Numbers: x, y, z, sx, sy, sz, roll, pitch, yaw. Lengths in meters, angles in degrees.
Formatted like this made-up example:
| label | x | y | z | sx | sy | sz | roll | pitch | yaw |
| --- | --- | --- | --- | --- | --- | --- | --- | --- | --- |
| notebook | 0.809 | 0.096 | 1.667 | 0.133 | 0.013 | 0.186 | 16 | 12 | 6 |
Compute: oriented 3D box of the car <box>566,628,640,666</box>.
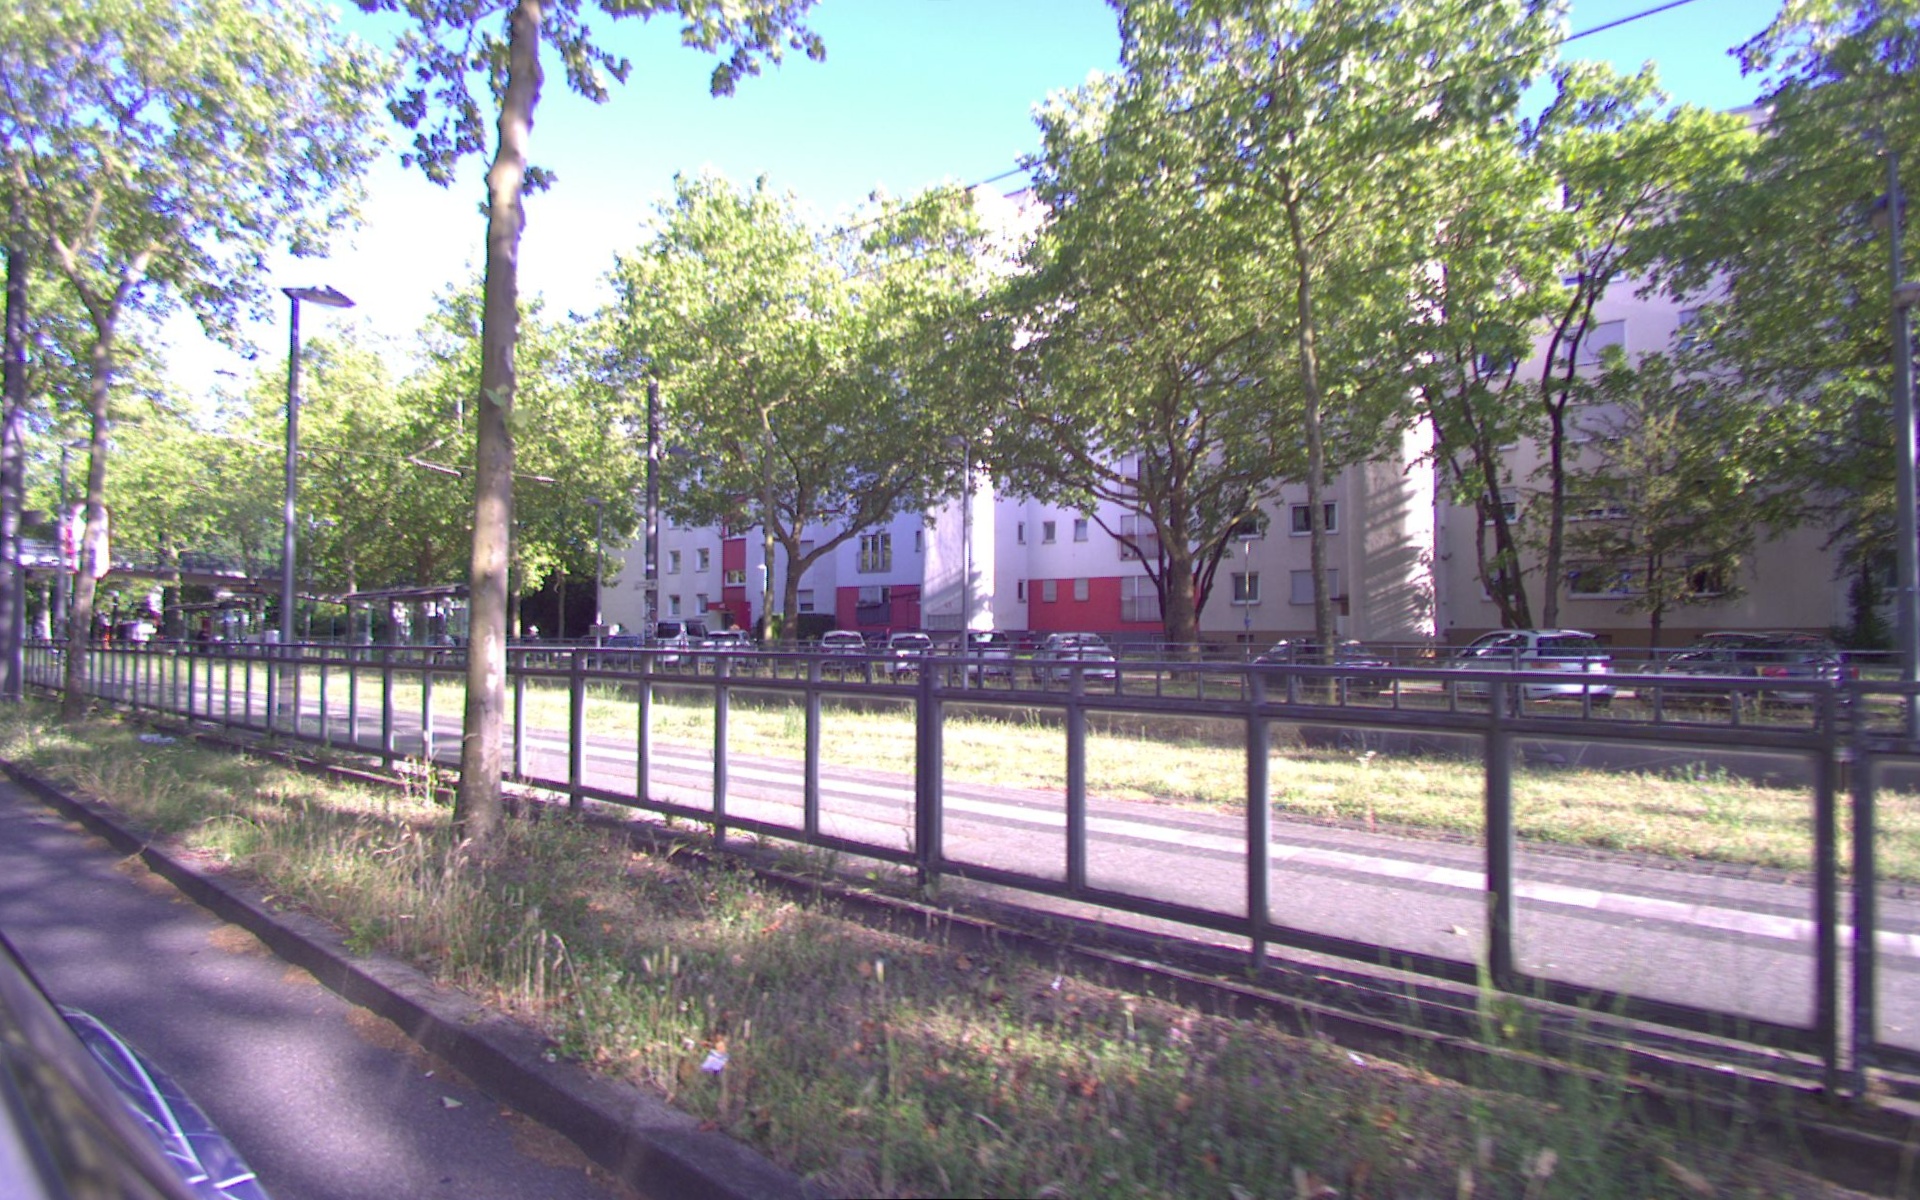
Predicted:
| label | x | y | z | sx | sy | sz | roll | pitch | yaw |
| --- | --- | --- | --- | --- | --- | --- | --- | --- | --- |
| car | -16.084 | 2.089 | 45.838 | 1.872 | 1.509 | 4.502 | -2 | -1 | -2 |

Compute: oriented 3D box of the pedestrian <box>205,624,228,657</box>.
| label | x | y | z | sx | sy | sz | roll | pitch | yaw |
| --- | --- | --- | --- | --- | --- | --- | --- | --- | --- |
| pedestrian | -36.807 | 1.998 | 50.098 | 0.714 | 1.647 | 0.722 | -1 | -3 | 37 |

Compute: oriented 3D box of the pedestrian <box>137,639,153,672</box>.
| label | x | y | z | sx | sy | sz | roll | pitch | yaw |
| --- | --- | --- | --- | --- | --- | --- | --- | --- | --- |
| pedestrian | -44.819 | 3.031 | 55.655 | 0.477 | 1.784 | 0.504 | -1 | -1 | -1 |

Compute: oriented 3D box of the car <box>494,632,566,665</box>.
| label | x | y | z | sx | sy | sz | roll | pitch | yaw |
| --- | --- | --- | --- | --- | --- | --- | --- | --- | --- |
| car | -20.920 | 2.342 | 49.437 | 1.677 | 1.439 | 4.198 | -2 | -1 | 1 |

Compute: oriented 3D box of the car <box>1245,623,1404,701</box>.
| label | x | y | z | sx | sy | sz | roll | pitch | yaw |
| --- | --- | --- | --- | --- | --- | --- | --- | --- | --- |
| car | 8.318 | 1.357 | 23.531 | 1.620 | 1.556 | 4.183 | -1 | 0 | -9 |

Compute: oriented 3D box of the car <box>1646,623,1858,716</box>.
| label | x | y | z | sx | sy | sz | roll | pitch | yaw |
| --- | --- | --- | --- | --- | --- | --- | --- | --- | --- |
| car | 14.421 | 1.206 | 18.673 | 1.447 | 1.520 | 3.377 | -2 | -2 | 6 |

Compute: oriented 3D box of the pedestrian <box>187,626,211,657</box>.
| label | x | y | z | sx | sy | sz | roll | pitch | yaw |
| --- | --- | --- | --- | --- | --- | --- | --- | --- | --- |
| pedestrian | -37.444 | 2.033 | 49.791 | 0.681 | 1.525 | 0.638 | -1 | -3 | 27 |

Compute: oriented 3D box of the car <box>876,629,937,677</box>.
| label | x | y | z | sx | sy | sz | roll | pitch | yaw |
| --- | --- | --- | --- | --- | --- | --- | --- | --- | --- |
| car | -1.822 | 1.698 | 33.207 | 1.551 | 1.443 | 4.067 | -1 | -2 | -9 |

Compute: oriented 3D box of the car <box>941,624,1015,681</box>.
| label | x | y | z | sx | sy | sz | roll | pitch | yaw |
| --- | --- | --- | --- | --- | --- | --- | --- | --- | --- |
| car | 0.488 | 1.570 | 31.084 | 1.551 | 1.580 | 4.067 | -1 | -2 | -9 |

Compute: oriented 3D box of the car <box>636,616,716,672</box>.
| label | x | y | z | sx | sy | sz | roll | pitch | yaw |
| --- | --- | --- | --- | --- | --- | --- | --- | --- | --- |
| car | -11.314 | 1.713 | 40.664 | 1.874 | 2.079 | 4.498 | -2 | -1 | 1 |

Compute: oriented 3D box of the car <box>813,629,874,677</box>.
| label | x | y | z | sx | sy | sz | roll | pitch | yaw |
| --- | --- | --- | --- | --- | --- | --- | --- | --- | --- |
| car | -4.089 | 1.780 | 35.048 | 1.870 | 1.515 | 4.508 | -1 | -2 | -9 |

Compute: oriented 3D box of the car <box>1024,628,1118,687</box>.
| label | x | y | z | sx | sy | sz | roll | pitch | yaw |
| --- | --- | --- | --- | --- | --- | --- | --- | --- | --- |
| car | 3.017 | 1.558 | 28.314 | 1.551 | 1.485 | 4.067 | -1 | -2 | -9 |

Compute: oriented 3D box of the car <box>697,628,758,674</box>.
| label | x | y | z | sx | sy | sz | roll | pitch | yaw |
| --- | --- | --- | --- | --- | --- | --- | --- | --- | --- |
| car | -8.918 | 1.915 | 39.077 | 1.664 | 1.623 | 4.063 | -1 | -2 | -4 |

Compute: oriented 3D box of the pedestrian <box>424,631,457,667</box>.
| label | x | y | z | sx | sy | sz | roll | pitch | yaw |
| --- | --- | --- | --- | --- | --- | --- | --- | --- | --- |
| pedestrian | -16.799 | 1.594 | 32.729 | 0.661 | 1.136 | 0.687 | -1 | -5 | 41 |

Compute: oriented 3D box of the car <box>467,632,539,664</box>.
| label | x | y | z | sx | sy | sz | roll | pitch | yaw |
| --- | --- | --- | --- | --- | --- | --- | --- | --- | --- |
| car | -23.075 | 2.387 | 51.270 | 1.677 | 1.439 | 4.198 | -2 | -1 | 1 |

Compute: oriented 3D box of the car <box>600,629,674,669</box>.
| label | x | y | z | sx | sy | sz | roll | pitch | yaw |
| --- | --- | --- | --- | --- | --- | --- | --- | --- | --- |
| car | -13.692 | 2.032 | 43.139 | 1.872 | 1.509 | 4.502 | -2 | -1 | -2 |

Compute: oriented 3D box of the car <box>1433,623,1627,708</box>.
| label | x | y | z | sx | sy | sz | roll | pitch | yaw |
| --- | --- | --- | --- | --- | --- | --- | --- | --- | --- |
| car | 11.690 | 1.292 | 21.087 | 1.622 | 1.556 | 3.995 | -1 | -1 | -2 |

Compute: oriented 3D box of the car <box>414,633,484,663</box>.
| label | x | y | z | sx | sy | sz | roll | pitch | yaw |
| --- | --- | --- | --- | --- | --- | --- | --- | --- | --- |
| car | -28.020 | 2.610 | 55.610 | 1.677 | 1.439 | 4.198 | -2 | -1 | 1 |
